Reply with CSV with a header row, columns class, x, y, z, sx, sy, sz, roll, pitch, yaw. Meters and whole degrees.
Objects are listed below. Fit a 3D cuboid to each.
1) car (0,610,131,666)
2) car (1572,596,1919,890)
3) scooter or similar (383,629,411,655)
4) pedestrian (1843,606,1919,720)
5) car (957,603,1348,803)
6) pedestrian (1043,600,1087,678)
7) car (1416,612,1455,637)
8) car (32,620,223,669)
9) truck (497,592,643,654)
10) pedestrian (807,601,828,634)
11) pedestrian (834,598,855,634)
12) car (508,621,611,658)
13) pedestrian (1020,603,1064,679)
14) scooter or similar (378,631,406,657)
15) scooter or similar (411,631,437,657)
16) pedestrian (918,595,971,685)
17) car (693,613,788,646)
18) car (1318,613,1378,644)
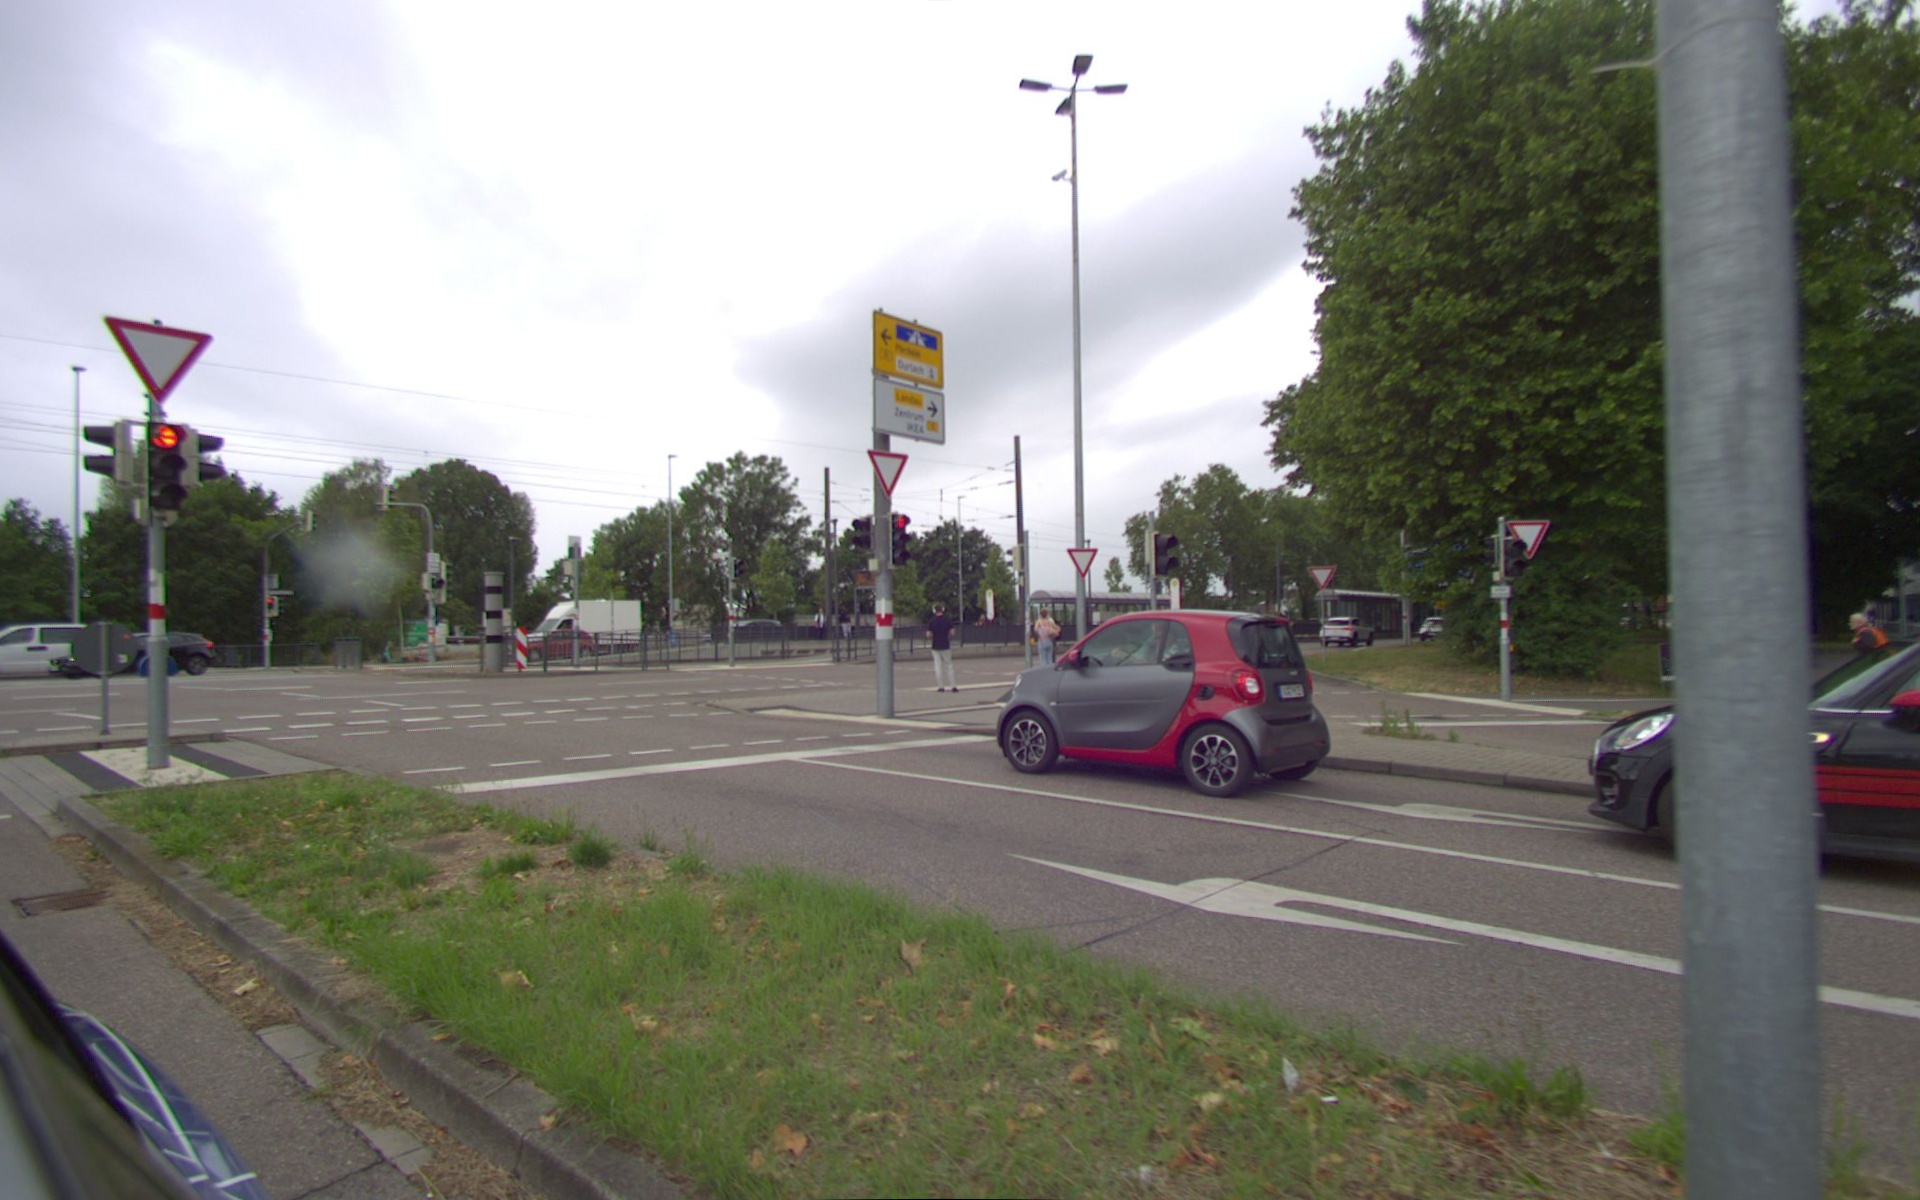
class,x,y,z,sx,sy,sz,roll,pitch,yaw
car,-32.674,1.352,35.609,2.096,1.894,5.058,-4,-3,35
car,5.847,0.765,5.549,4.063,1.514,1.644,-1,-3,41
scooter or similar,-27.921,2.068,50.164,0.391,1.252,1.139,-1,-2,41
pedestrian,13.968,0.924,15.348,0.808,1.655,0.627,1,0,39
car,1.701,0.802,9.358,3.207,1.514,1.586,0,-1,40
pedestrian,2.478,0.901,23.929,0.665,1.811,0.767,0,0,-37
car,33.058,1.653,70.275,1.793,1.597,4.094,1,0,35
car,-26.475,1.410,32.338,1.991,1.401,4.301,-3,-3,28
truck,-19.910,1.198,51.985,2.825,2.946,6.458,-4,-3,39
pedestrian,-6.850,0.835,48.725,0.711,1.572,0.623,-4,-3,43
pedestrian,-5.766,0.817,50.498,0.788,1.755,0.578,-4,-3,43
car,-18.928,1.842,47.905,1.783,1.664,4.192,-4,-3,40
pedestrian,1.902,0.945,23.543,0.766,1.725,0.666,-1,-1,45
scooter or similar,-27.827,2.145,49.587,1.137,1.252,0.478,1,-2,-43
scooter or similar,-26.959,2.196,50.923,1.032,1.224,0.376,-3,1,-44
pedestrian,-0.319,0.812,20.590,0.654,1.778,0.688,5,-1,-44
car,-10.521,1.392,48.695,1.676,1.419,4.313,-4,-3,40
car,21.573,1.559,56.180,1.892,1.597,4.353,0,-1,39
